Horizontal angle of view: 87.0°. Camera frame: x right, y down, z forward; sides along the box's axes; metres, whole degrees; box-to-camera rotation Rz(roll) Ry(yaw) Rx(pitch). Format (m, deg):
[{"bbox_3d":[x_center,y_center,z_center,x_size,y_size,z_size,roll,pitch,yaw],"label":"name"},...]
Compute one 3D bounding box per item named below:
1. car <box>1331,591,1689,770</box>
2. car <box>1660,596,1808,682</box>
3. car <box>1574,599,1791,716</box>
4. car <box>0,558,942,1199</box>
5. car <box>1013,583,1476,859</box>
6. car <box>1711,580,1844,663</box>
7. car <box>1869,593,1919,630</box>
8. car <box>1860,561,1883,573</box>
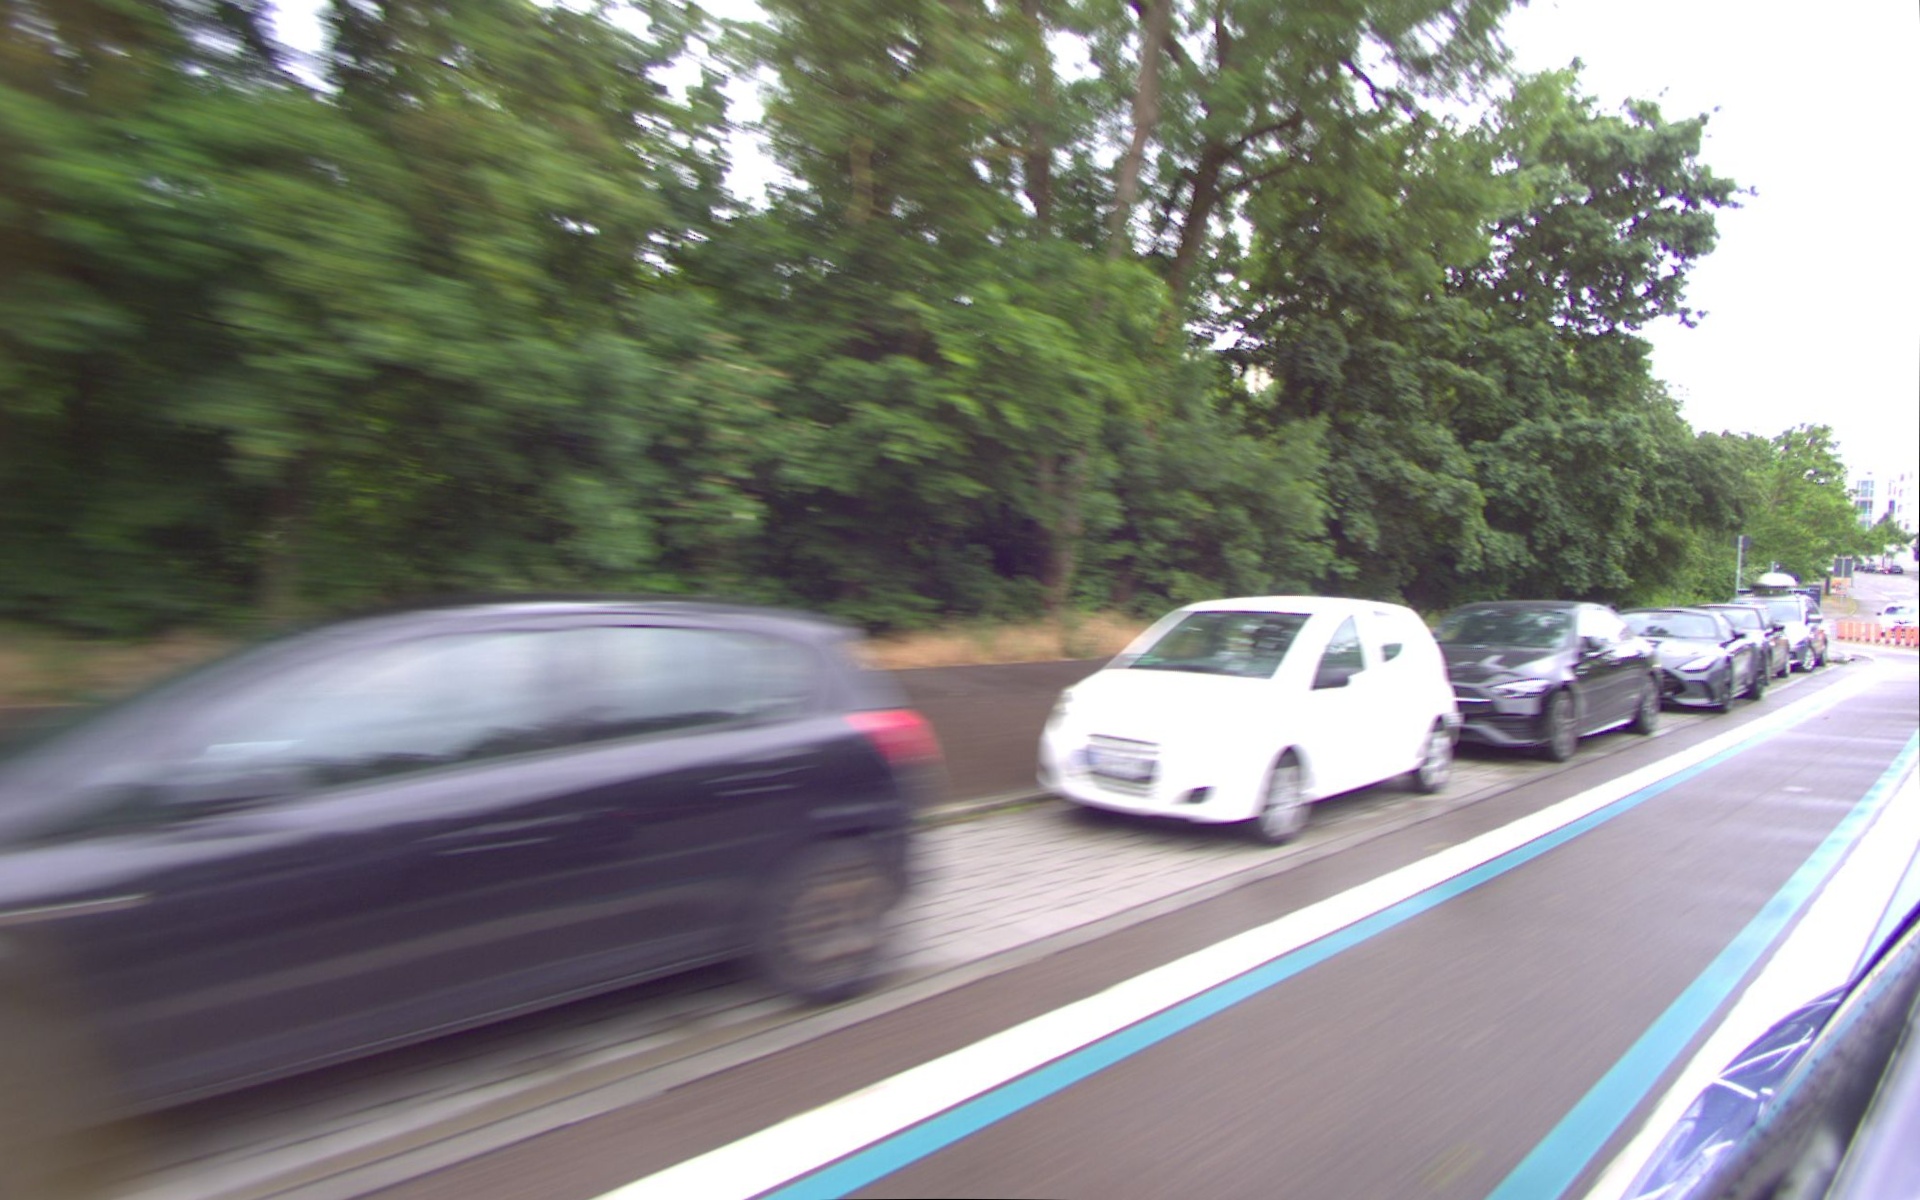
[{"bbox_3d":[5.954,0.668,10.680,4.669,1.473,1.859,0,1,-42],"label":"car"},{"bbox_3d":[14.350,0.640,18.705,3.643,1.431,1.697,0,0,-45],"label":"car"},{"bbox_3d":[10.521,0.701,14.616,4.314,1.417,1.854,0,0,-45],"label":"car"},{"bbox_3d":[-2.053,0.660,3.311,3.831,1.484,1.662,0,-1,-41],"label":"car"},{"bbox_3d":[2.192,0.643,7.254,3.614,1.478,1.561,0,1,-43],"label":"car"},{"bbox_3d":[17.940,0.412,22.144,4.182,1.635,1.823,0,0,-45],"label":"car"},{"bbox_3d":[44.326,0.521,47.330,1.913,1.682,3.956,2,1,31],"label":"car"},{"bbox_3d":[159.967,-5.782,177.568,1.907,2.038,4.345,1,2,27],"label":"car"}]
